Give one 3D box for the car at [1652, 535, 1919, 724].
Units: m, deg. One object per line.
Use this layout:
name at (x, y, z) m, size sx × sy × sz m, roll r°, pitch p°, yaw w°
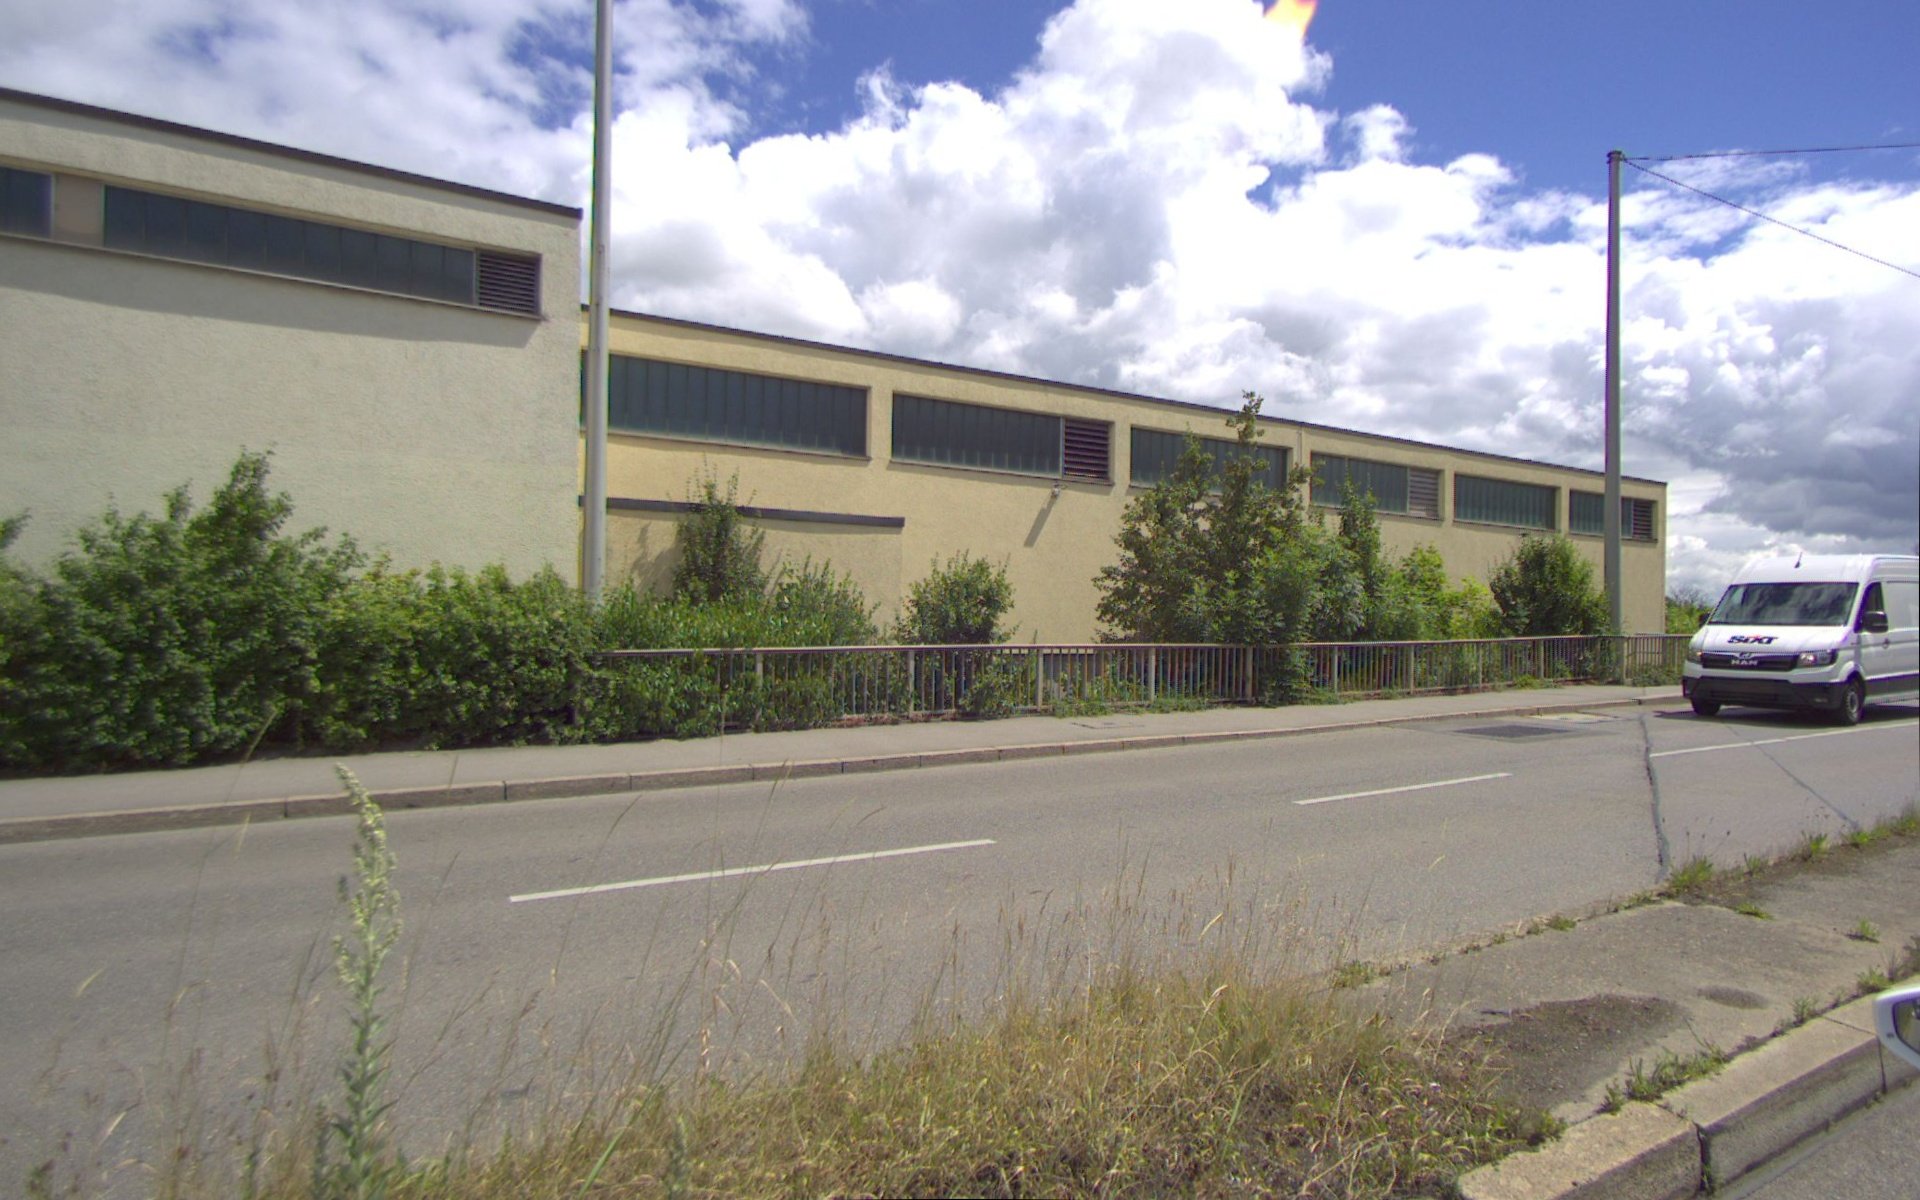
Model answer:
car at (14.206, 0.477, 16.481) m, size 6.741 × 2.605 × 2.057 m, roll 1°, pitch -2°, yaw -31°
